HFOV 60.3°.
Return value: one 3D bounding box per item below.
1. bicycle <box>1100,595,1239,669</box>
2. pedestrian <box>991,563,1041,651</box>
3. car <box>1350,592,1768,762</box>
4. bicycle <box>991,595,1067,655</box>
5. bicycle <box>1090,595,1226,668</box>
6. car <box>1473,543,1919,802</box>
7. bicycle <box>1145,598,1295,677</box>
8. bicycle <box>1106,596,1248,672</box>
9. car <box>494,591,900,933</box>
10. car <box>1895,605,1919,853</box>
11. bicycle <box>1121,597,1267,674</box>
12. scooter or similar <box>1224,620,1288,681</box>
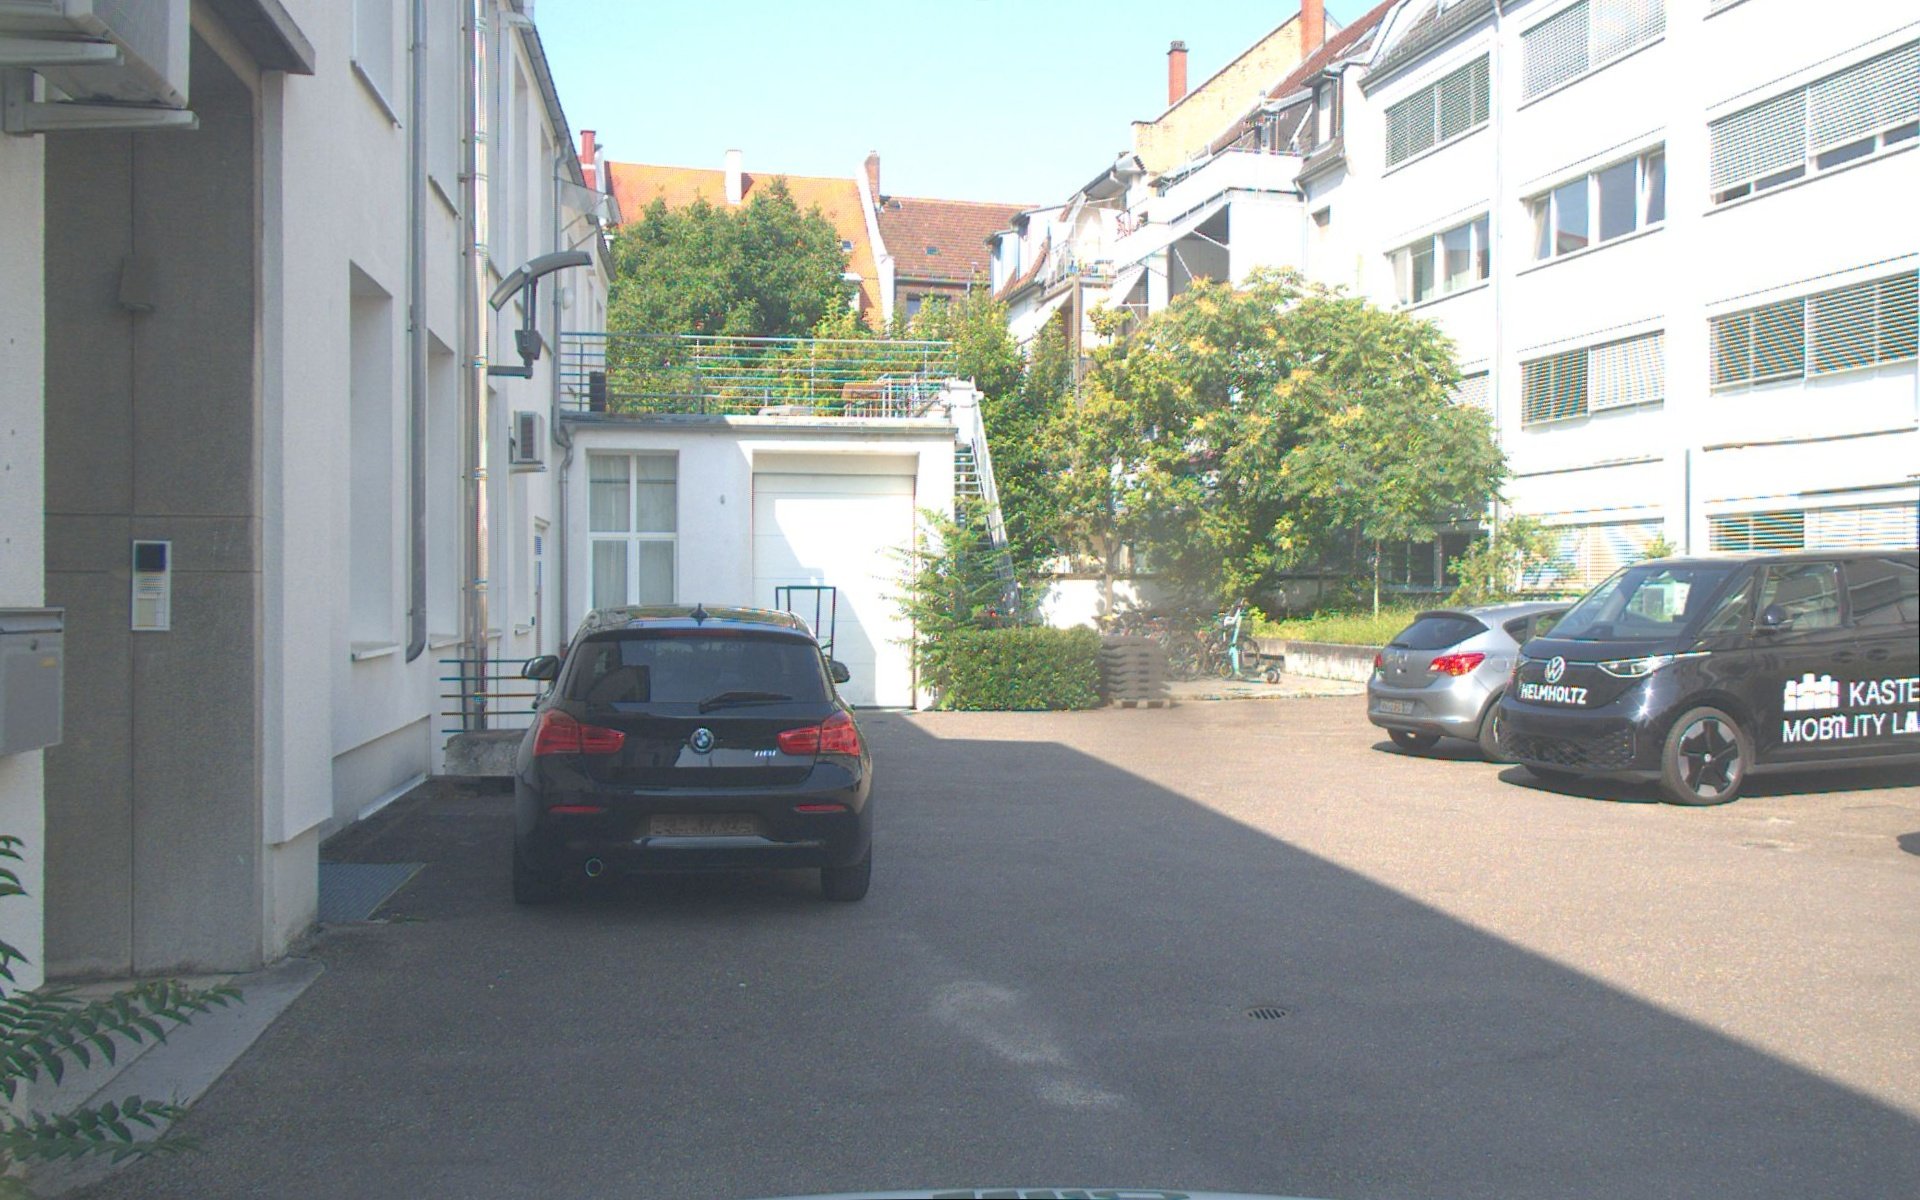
[{"bbox_3d":[3.681,0.563,29.095,2.366,1.268,0.525,1,0,-9],"label":"bicycle"},{"bbox_3d":[1.164,0.143,34.459,0.845,1.802,0.608,1,0,40],"label":"pedestrian"},{"bbox_3d":[5.985,0.689,16.525,3.842,1.491,1.652,-1,1,-22],"label":"car"},{"bbox_3d":[1.446,0.497,34.358,0.481,1.163,1.984,0,1,39],"label":"bicycle"},{"bbox_3d":[3.557,0.562,29.741,2.366,1.268,0.525,1,0,-9],"label":"bicycle"},{"bbox_3d":[6.622,0.491,13.671,4.268,1.891,1.905,-1,1,-19],"label":"car"},{"bbox_3d":[4.250,0.613,27.032,2.366,1.268,0.525,1,0,-9],"label":"bicycle"},{"bbox_3d":[3.729,0.583,28.425,2.366,1.268,0.525,1,0,-9],"label":"bicycle"},{"bbox_3d":[-1.531,0.694,9.330,1.761,1.453,4.125,1,0,-11],"label":"car"},{"bbox_3d":[7.817,0.753,9.518,4.156,1.462,1.686,-1,1,-11],"label":"car"},{"bbox_3d":[3.907,0.591,27.645,2.366,1.268,0.525,1,0,-9],"label":"bicycle"},{"bbox_3d":[4.792,0.813,26.776,0.982,0.940,0.358,1,0,44],"label":"scooter or similar"}]
